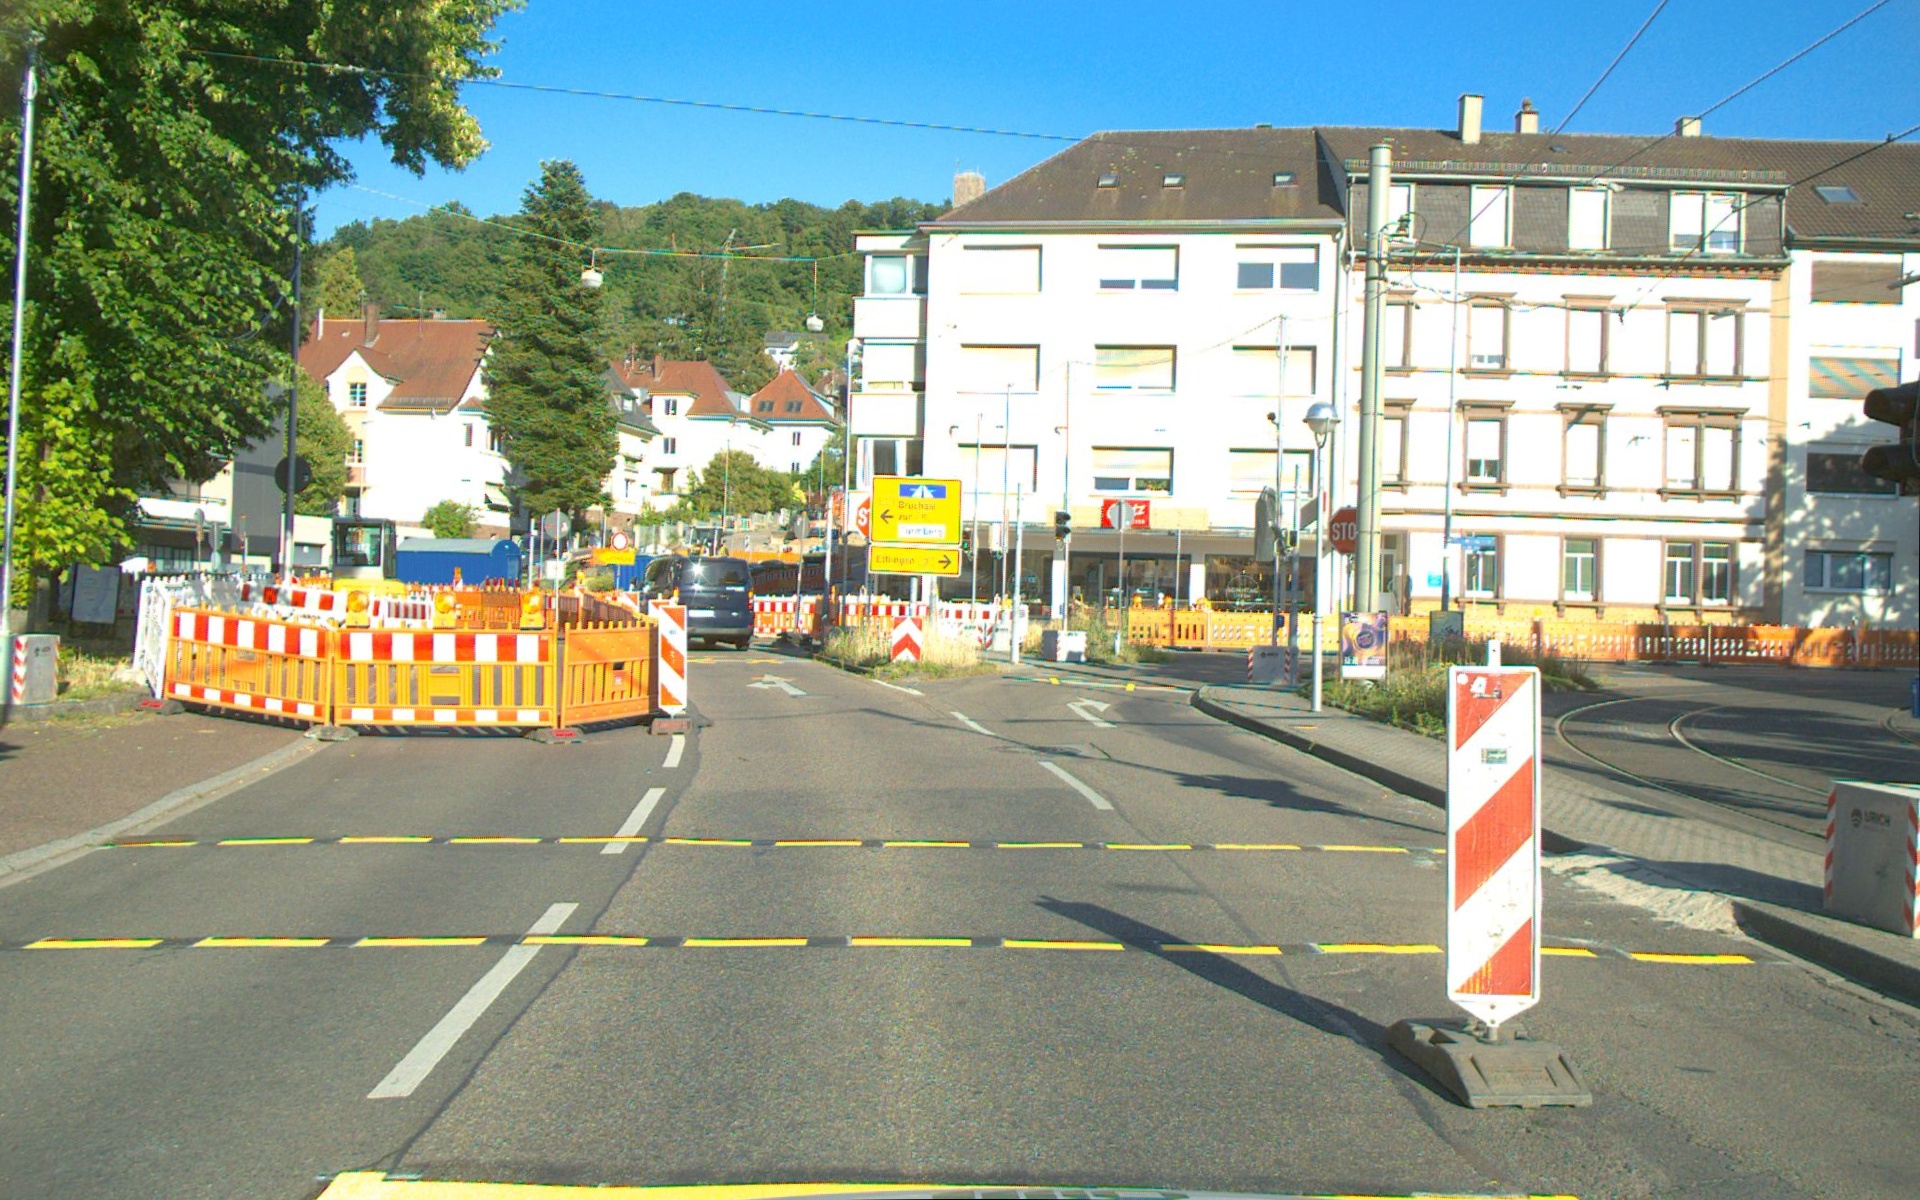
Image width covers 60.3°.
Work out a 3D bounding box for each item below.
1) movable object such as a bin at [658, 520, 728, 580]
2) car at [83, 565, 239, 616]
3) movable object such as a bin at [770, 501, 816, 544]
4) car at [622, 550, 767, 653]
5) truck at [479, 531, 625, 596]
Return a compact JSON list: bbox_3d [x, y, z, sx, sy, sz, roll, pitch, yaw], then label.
[{"bbox_3d":[-12.861,-2.402,79.885,2.144,2.737,4.003,1,0,9],"label":"movable object such as a bin"},{"bbox_3d":[-24.046,-0.283,49.819,3.902,1.434,1.801,1,0,12],"label":"car"},{"bbox_3d":[-11.555,-5.348,114.474,2.144,2.737,4.003,1,0,9],"label":"movable object such as a bin"},{"bbox_3d":[-5.980,-0.020,36.762,2.034,2.048,4.966,2,1,-23],"label":"car"},{"bbox_3d":[-16.894,-1.458,69.245,2.306,2.458,9.159,1,0,10],"label":"truck"}]
